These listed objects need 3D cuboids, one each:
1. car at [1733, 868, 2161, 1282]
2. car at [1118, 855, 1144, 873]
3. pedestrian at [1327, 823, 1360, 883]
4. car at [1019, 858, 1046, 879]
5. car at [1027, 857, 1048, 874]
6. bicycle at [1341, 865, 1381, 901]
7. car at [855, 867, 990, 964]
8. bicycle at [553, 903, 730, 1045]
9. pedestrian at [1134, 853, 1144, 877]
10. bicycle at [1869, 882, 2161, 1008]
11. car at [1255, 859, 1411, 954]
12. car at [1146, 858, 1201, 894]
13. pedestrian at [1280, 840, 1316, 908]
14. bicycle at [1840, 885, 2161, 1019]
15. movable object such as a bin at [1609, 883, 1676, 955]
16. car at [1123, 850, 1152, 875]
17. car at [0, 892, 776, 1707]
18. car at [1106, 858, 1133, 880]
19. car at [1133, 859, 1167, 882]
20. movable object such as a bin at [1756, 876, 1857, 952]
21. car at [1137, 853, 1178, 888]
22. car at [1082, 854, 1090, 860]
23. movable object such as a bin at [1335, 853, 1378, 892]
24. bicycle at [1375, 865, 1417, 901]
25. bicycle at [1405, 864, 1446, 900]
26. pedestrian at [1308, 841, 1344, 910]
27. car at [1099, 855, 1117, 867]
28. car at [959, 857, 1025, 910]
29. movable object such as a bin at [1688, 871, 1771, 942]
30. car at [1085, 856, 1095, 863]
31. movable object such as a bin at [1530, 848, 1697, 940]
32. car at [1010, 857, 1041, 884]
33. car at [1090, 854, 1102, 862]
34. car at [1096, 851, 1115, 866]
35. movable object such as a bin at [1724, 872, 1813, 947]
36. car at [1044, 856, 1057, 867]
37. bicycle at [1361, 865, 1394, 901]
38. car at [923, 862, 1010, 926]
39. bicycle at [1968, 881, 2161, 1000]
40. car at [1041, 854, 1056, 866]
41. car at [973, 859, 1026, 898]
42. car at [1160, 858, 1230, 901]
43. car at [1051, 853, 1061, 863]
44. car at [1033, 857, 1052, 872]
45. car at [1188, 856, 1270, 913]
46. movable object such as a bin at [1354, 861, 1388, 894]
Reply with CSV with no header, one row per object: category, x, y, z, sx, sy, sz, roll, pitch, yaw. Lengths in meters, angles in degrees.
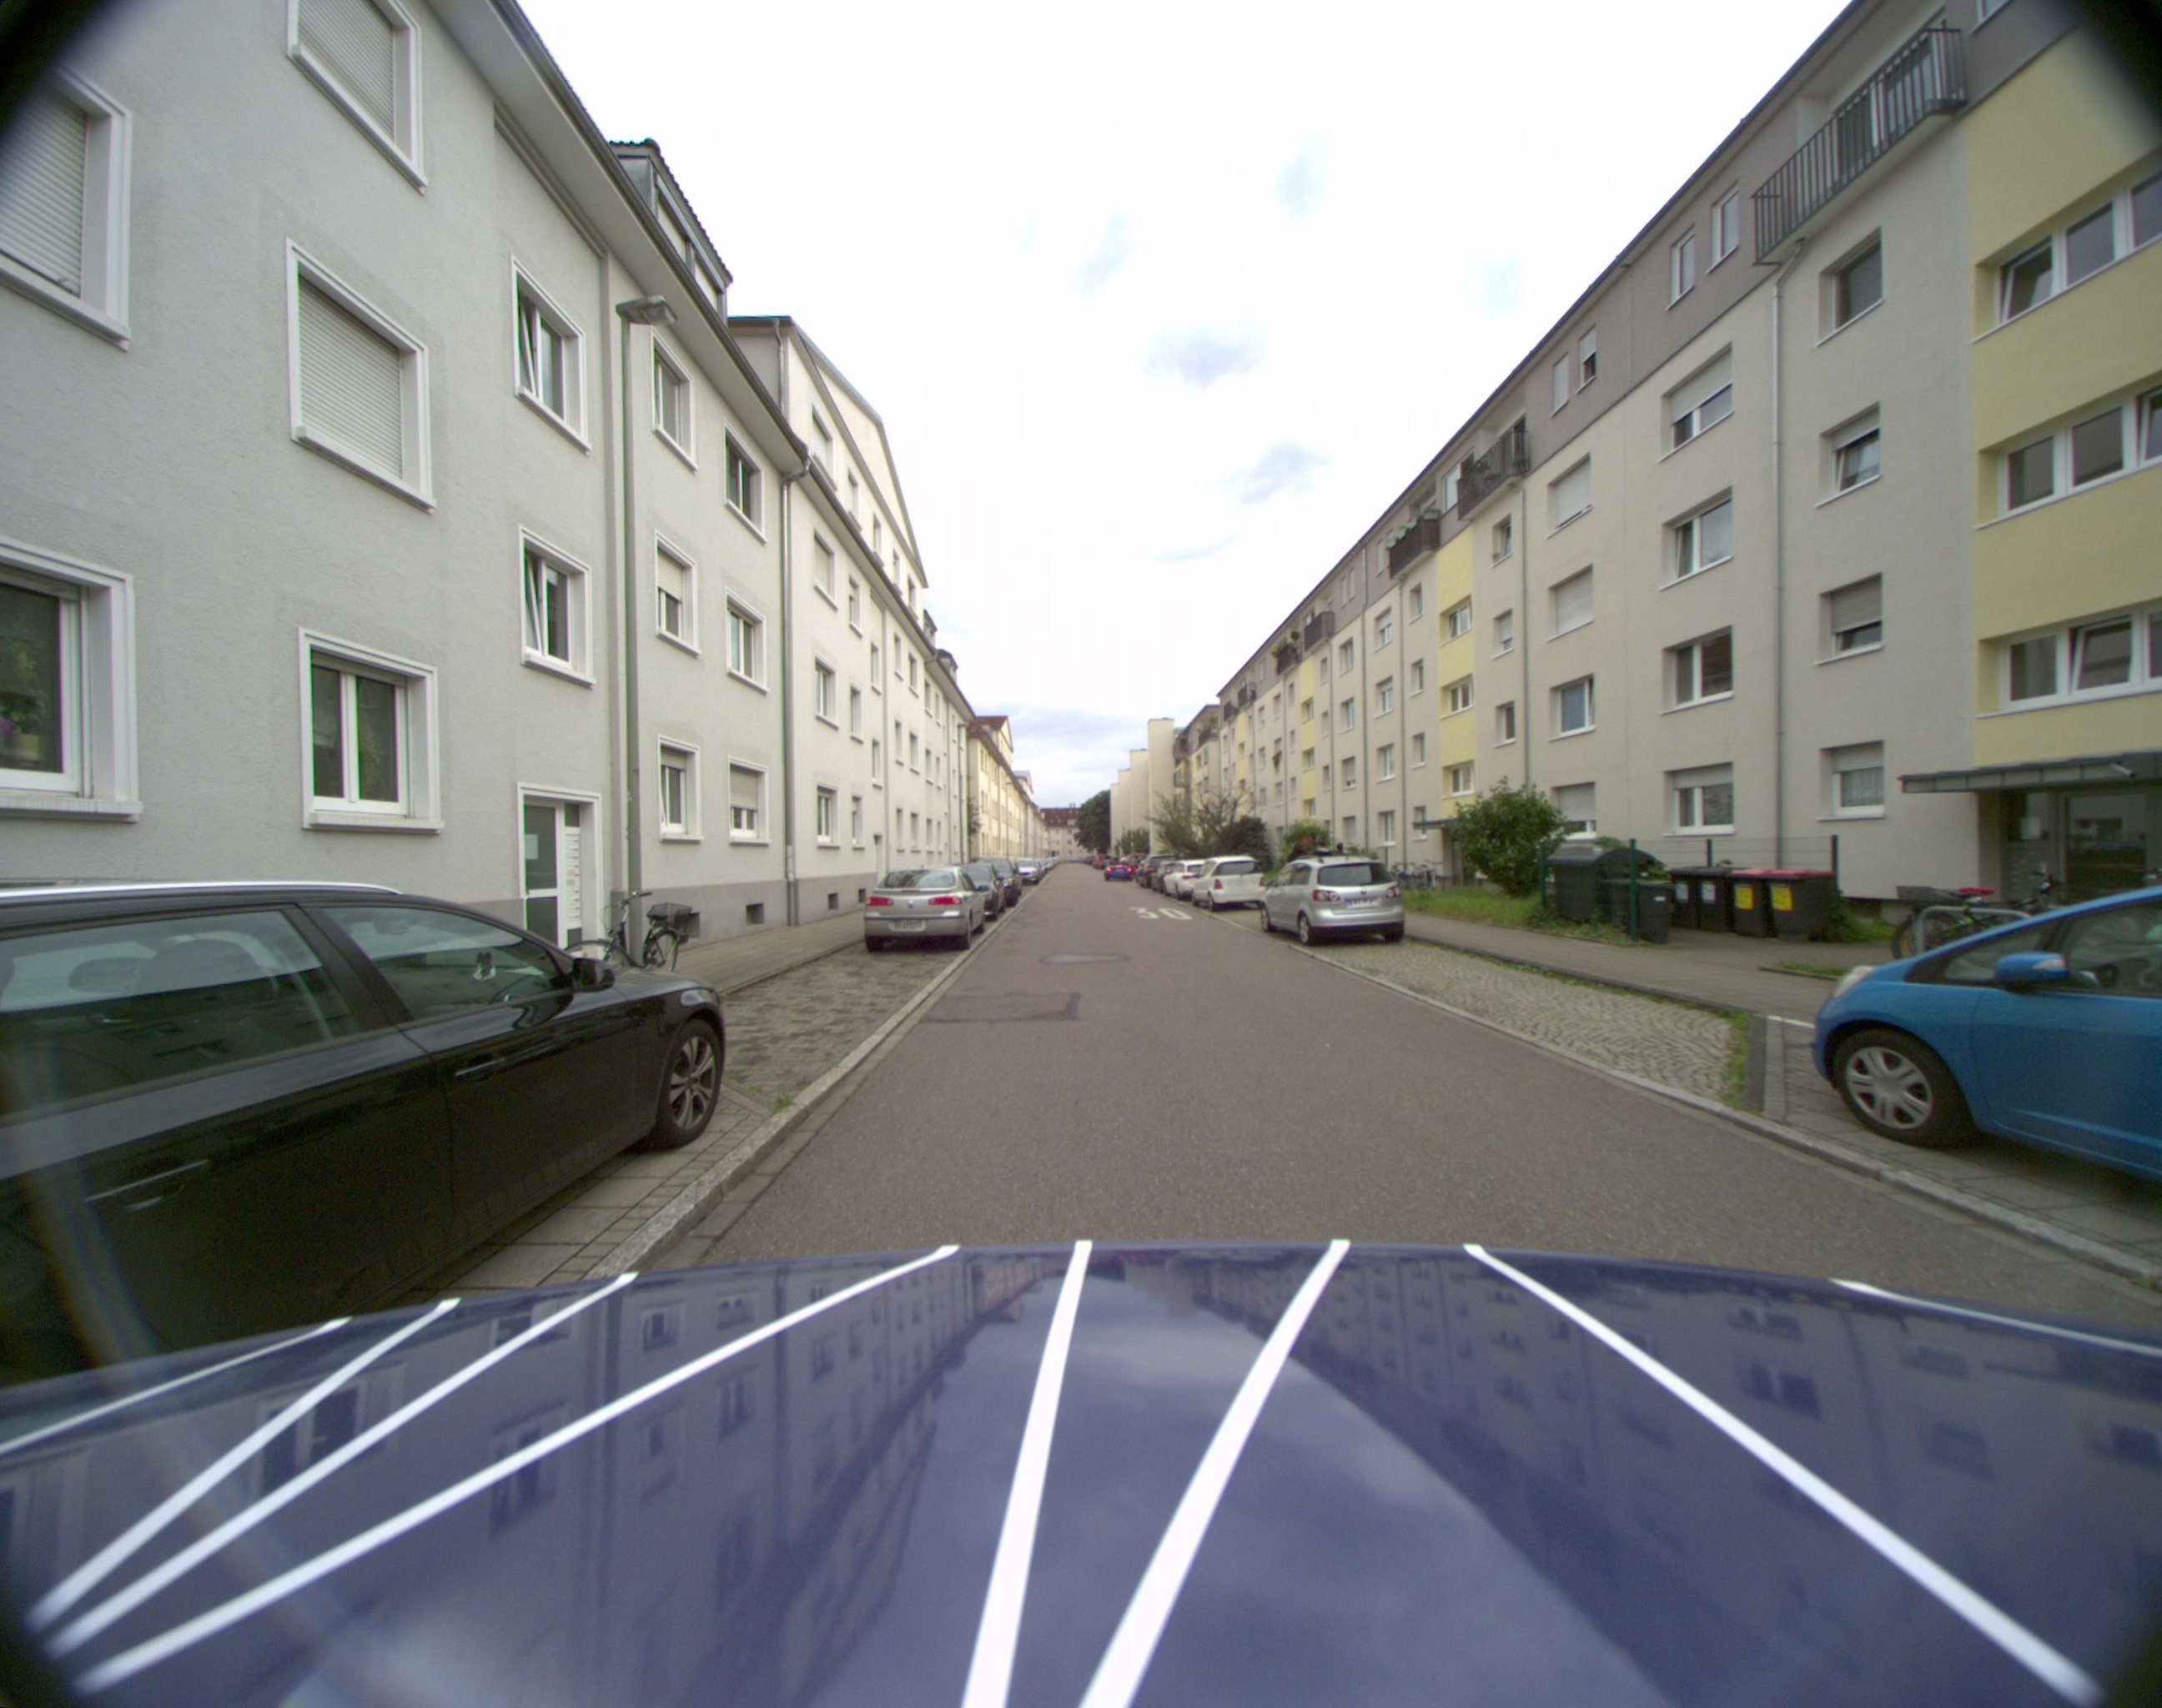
car,4.958,0.858,2.729,1.735,1.454,3.956,-3,0,-1
car,4.167,0.821,64.079,1.707,1.436,3.541,-1,0,-3
pedestrian,7.289,-0.026,21.134,0.616,1.647,0.803,-1,0,-1
car,-3.499,1.009,55.180,1.737,1.418,4.217,0,0,-1
car,-3.748,0.978,66.419,1.737,1.402,4.217,0,0,-2
bicycle,8.483,0.847,23.080,0.489,1.018,1.878,-1,0,-1
car,-2.744,0.998,14.135,1.737,1.454,4.429,0,0,-2
bicycle,-4.481,1.165,7.930,0.750,1.193,1.895,1,0,-1
pedestrian,4.036,0.766,53.076,0.603,1.657,0.622,-1,0,-4
bicycle,9.663,0.855,7.908,0.659,1.064,2.175,-1,0,0
car,4.685,0.895,14.726,1.658,1.541,3.915,-2,0,0
car,4.119,0.943,34.494,1.730,1.445,4.481,-1,0,-3
pedestrian,6.117,0.565,21.459,0.642,1.852,0.974,-3,0,-1
bicycle,8.902,0.873,7.511,0.659,1.062,2.122,-1,0,0
movable object such as a bin,8.390,0.961,11.361,0.538,1.027,0.598,-1,0,-2
car,4.297,0.656,57.892,1.707,1.795,3.541,-1,0,-3
car,-2.808,0.967,2.496,1.865,1.454,4.724,0,0,-2
car,2.623,1.002,52.520,1.680,1.307,3.907,-1,1,0
car,4.243,1.008,47.337,1.575,1.389,3.541,-1,0,-3
movable object such as a bin,10.618,0.864,11.141,0.866,1.045,0.634,-1,0,-2
car,4.025,0.862,40.522,1.575,1.769,4.451,-1,0,-2
car,1.267,0.753,192.413,1.746,1.534,3.636,-1,0,-7
movable object such as a bin,10.191,0.677,28.162,1.060,1.367,1.188,-2,2,-6
bicycle,9.463,0.842,22.910,0.479,1.018,1.754,-1,0,-2
bicycle,10.350,0.817,22.899,0.421,1.018,1.558,-1,0,-4
pedestrian,6.674,0.588,20.759,0.708,1.843,0.763,-1,0,-1
car,3.472,0.875,98.038,2.013,1.436,4.196,-1,-1,-3
car,-2.883,0.914,25.434,1.853,1.589,4.159,0,0,-2
movable object such as a bin,10.623,0.841,12.459,0.844,1.110,0.598,-1,0,-3
car,1.850,1.121,156.489,1.707,1.527,3.541,-1,0,-3
movable object such as a bin,8.838,0.632,12.743,1.593,1.412,1.671,-1,0,-2
car,-3.337,0.966,46.268,1.737,1.538,3.676,0,0,-2
car,2.785,0.754,141.613,1.746,1.534,3.636,-1,-1,-7
car,3.317,0.648,104.271,2.188,2.019,4.422,-1,0,-3
movable object such as a bin,10.655,0.852,11.796,0.844,1.110,0.598,-1,0,-3
car,-4.085,0.966,103.097,1.737,1.443,4.217,0,0,-2
bicycle,8.964,0.856,22.985,0.357,1.018,1.497,-1,0,-2
car,-2.891,0.970,19.962,1.786,1.454,4.322,0,0,-2
bicycle,10.488,0.842,7.608,0.659,1.064,2.175,-1,0,0
car,-3.968,0.778,93.305,1.737,1.443,4.217,0,0,-2
car,-3.205,0.935,30.489,1.737,1.478,3.756,0,0,-1
car,4.283,0.933,29.314,1.723,1.501,4.686,-1,-1,-3
car,-4.380,0.740,132.122,1.737,1.670,3.591,0,0,-2
car,-3.724,0.999,74.130,1.737,1.363,4.217,0,0,-2
car,4.507,0.881,23.714,1.690,1.629,3.726,-1,0,-2
movable object such as a bin,10.348,0.824,27.099,0.871,1.103,0.787,-2,2,-5
